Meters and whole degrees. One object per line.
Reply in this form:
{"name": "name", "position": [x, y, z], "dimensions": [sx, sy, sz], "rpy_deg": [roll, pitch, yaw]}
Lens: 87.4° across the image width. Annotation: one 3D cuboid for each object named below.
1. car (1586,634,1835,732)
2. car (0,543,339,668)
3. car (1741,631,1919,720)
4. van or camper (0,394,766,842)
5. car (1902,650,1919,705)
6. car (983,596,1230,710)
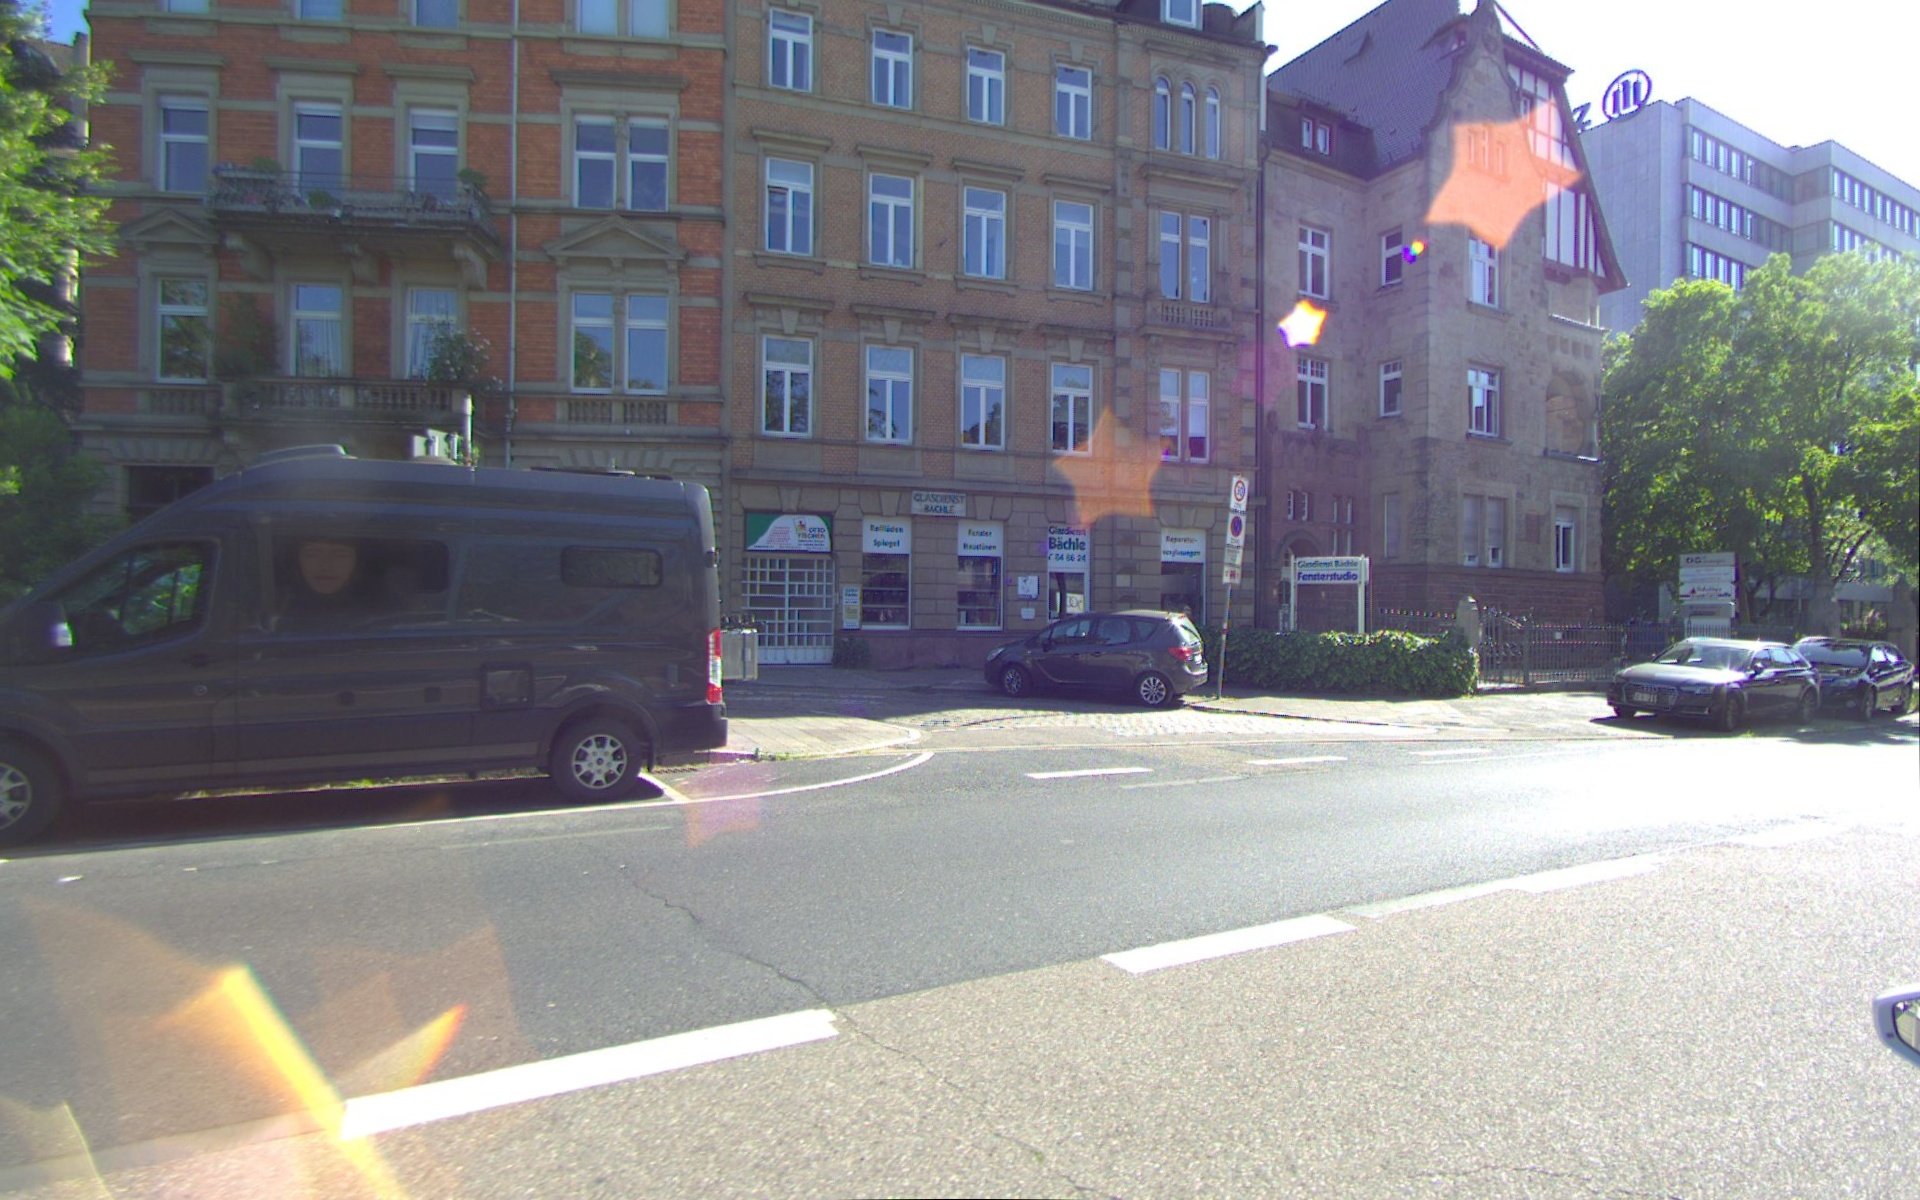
{"name": "car", "position": [13.658, 1.433, 18.224], "dimensions": [4.663, 1.447, 1.847], "rpy_deg": [2, 2, -30]}
{"name": "car", "position": [-13.899, 0.147, 17.883], "dimensions": [4.368, 1.938, 1.864], "rpy_deg": [2, -3, -6]}
{"name": "car", "position": [18.130, 1.484, 20.740], "dimensions": [4.659, 1.514, 1.843], "rpy_deg": [2, 2, -35]}
{"name": "van or camper", "position": [-4.841, 0.163, 8.178], "dimensions": [6.017, 2.775, 2.205], "rpy_deg": [1, -1, -31]}
{"name": "car", "position": [24.547, 1.884, 24.170], "dimensions": [3.967, 1.272, 1.670], "rpy_deg": [2, 0, -30]}
{"name": "car", "position": [2.697, 0.878, 18.581], "dimensions": [4.067, 1.693, 1.997], "rpy_deg": [3, 3, 27]}
